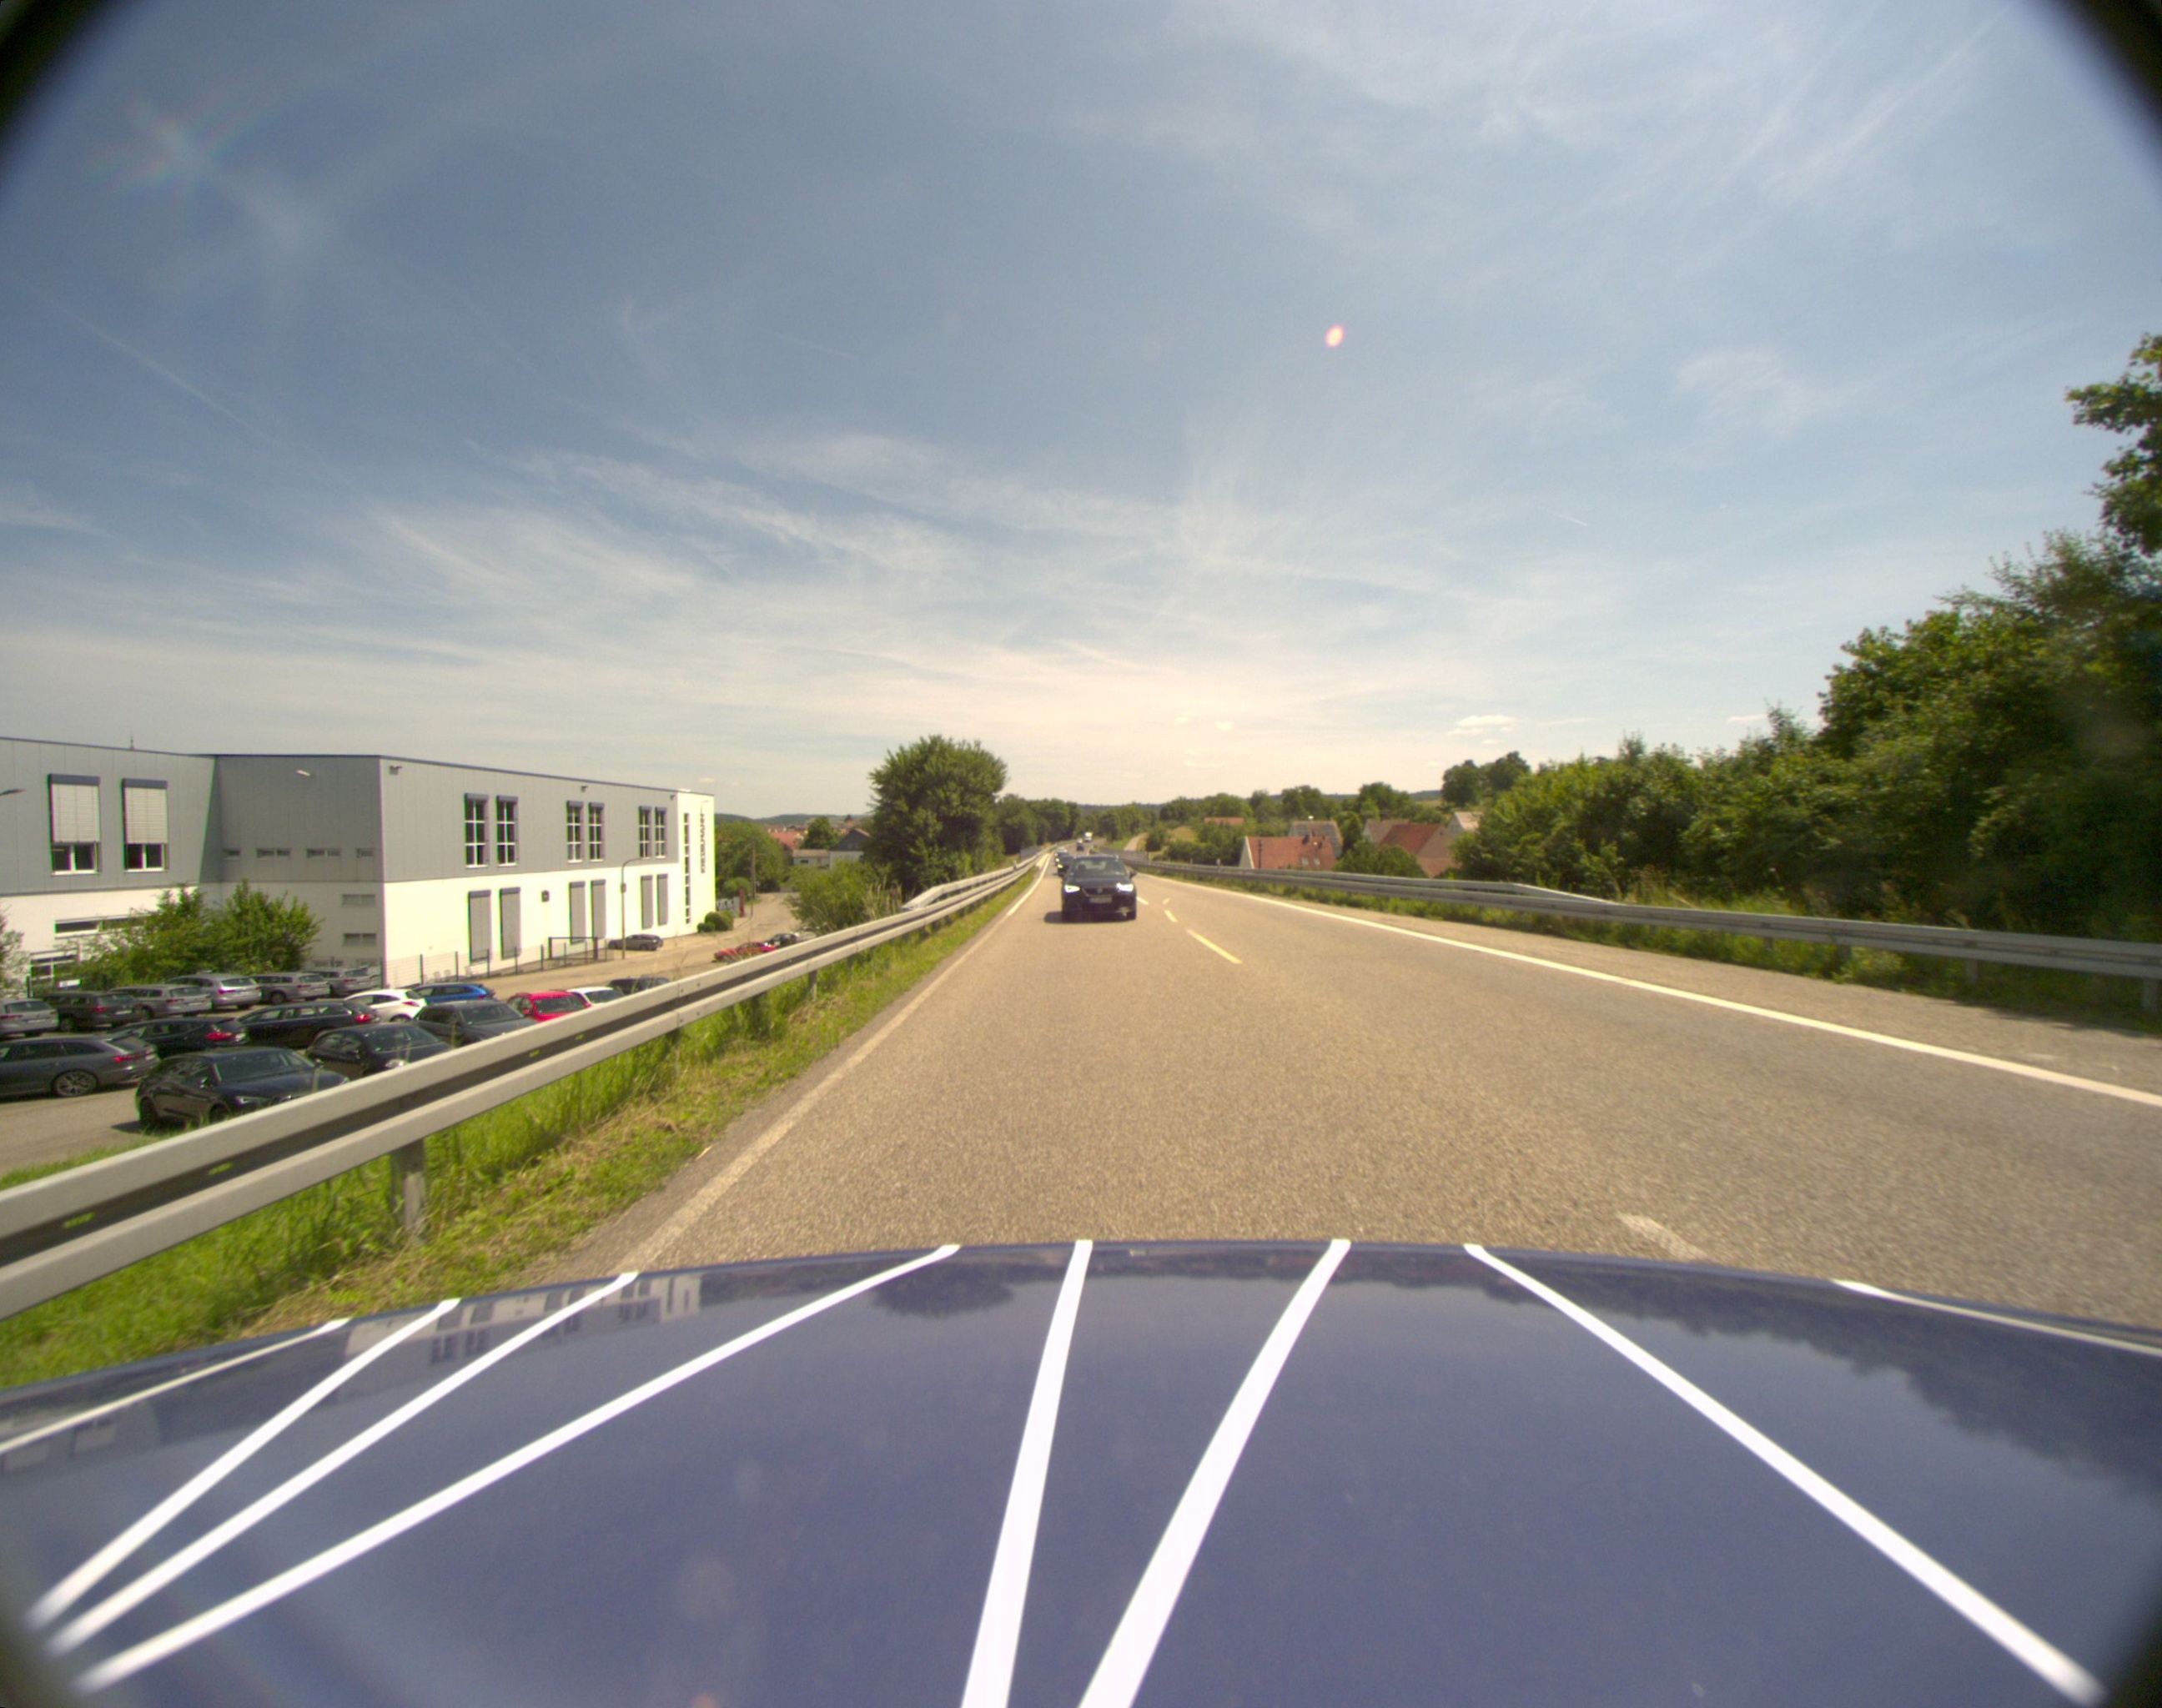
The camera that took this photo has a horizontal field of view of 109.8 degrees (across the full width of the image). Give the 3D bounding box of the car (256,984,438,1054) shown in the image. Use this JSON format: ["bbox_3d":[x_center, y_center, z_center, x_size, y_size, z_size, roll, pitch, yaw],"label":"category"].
[{"bbox_3d":[-26.530,5.929,27.699,4.417,1.594,1.787,-4,-2,-31],"label":"car"}]

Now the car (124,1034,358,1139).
[{"bbox_3d":[-17.270,4.640,15.598,4.715,1.479,1.917,-7,-2,26],"label":"car"}]

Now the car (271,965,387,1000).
[{"bbox_3d":[-39.570,6.758,40.052,4.048,1.562,1.912,1,-2,-3],"label":"car"}]

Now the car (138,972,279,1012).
[{"bbox_3d":[-39.867,6.294,34.798,4.048,1.562,1.912,1,-2,-3],"label":"car"}]

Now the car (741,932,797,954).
[{"bbox_3d":[-28.255,8.022,68.906,4.417,1.436,1.787,-4,-2,-31],"label":"car"}]

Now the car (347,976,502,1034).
[{"bbox_3d":[-26.197,5.993,30.545,4.417,1.436,1.787,-4,-2,-31],"label":"car"}]

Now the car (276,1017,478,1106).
[{"bbox_3d":[-17.224,4.981,18.558,4.715,1.554,1.964,-7,-2,26],"label":"car"}]

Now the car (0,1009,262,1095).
[{"bbox_3d":[-26.257,5.416,21.107,4.418,1.526,1.787,0,-4,-31],"label":"car"}]

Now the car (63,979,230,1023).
[{"bbox_3d":[-39.509,6.206,32.222,4.584,1.562,1.821,1,-2,-3],"label":"car"}]

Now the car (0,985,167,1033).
[{"bbox_3d":[-39.331,6.051,29.771,4.584,1.562,1.821,1,-2,-3],"label":"car"}]

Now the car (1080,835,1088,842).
[{"bbox_3d":[0.650,-3.620,180.740,1.870,1.602,4.371,0,1,-1],"label":"car"}]

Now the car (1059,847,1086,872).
[{"bbox_3d":[-0.631,0.449,56.230,1.879,1.637,4.002,2,-3,-1],"label":"car"}]

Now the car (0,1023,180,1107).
[{"bbox_3d":[-25.594,5.220,18.486,4.419,1.500,1.787,0,-5,-36],"label":"car"}]

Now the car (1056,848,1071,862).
[{"bbox_3d":[-2.317,0.192,101.395,1.879,1.637,4.002,2,-3,-1],"label":"car"}]

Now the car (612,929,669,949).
[{"bbox_3d":[-40.865,7.868,70.477,4.048,1.562,1.912,3,-2,-3],"label":"car"}]

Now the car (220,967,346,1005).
[{"bbox_3d":[-39.404,6.511,37.595,4.048,1.562,1.912,1,-2,-3],"label":"car"}]

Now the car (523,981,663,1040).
[{"bbox_3d":[-17.609,5.648,27.422,4.402,1.652,1.902,-6,-2,21],"label":"car"}]

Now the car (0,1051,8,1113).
[{"bbox_3d":[-25.721,5.093,15.413,4.167,1.369,1.787,0,-5,-33],"label":"car"}]

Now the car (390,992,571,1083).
[{"bbox_3d":[-17.036,5.134,21.534,4.715,2.001,2.083,-6,-2,26],"label":"car"}]

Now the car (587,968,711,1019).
[{"bbox_3d":[-17.115,5.524,30.105,4.402,1.533,1.793,-6,-2,21],"label":"car"}]

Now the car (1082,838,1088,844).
[{"bbox_3d":[1.345,-4.318,251.065,1.978,2.002,4.001,4,0,2],"label":"car"}]

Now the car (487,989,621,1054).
[{"bbox_3d":[-16.881,5.270,24.295,4.401,1.549,1.989,-7,-2,34],"label":"car"}]

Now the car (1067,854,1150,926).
[{"bbox_3d":[0.577,0.799,18.840,1.738,1.468,3.998,1,2,-2],"label":"car"}]

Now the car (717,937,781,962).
[{"bbox_3d":[-26.629,7.625,60.946,4.417,1.436,1.787,-4,-2,-31],"label":"car"}]

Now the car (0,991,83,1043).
[{"bbox_3d":[-39.496,5.885,27.316,4.584,1.562,1.821,-1,-2,-3],"label":"car"}]

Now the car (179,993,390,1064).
[{"bbox_3d":[-25.643,5.600,24.725,4.418,1.530,1.787,-1,-4,-31],"label":"car"}]
